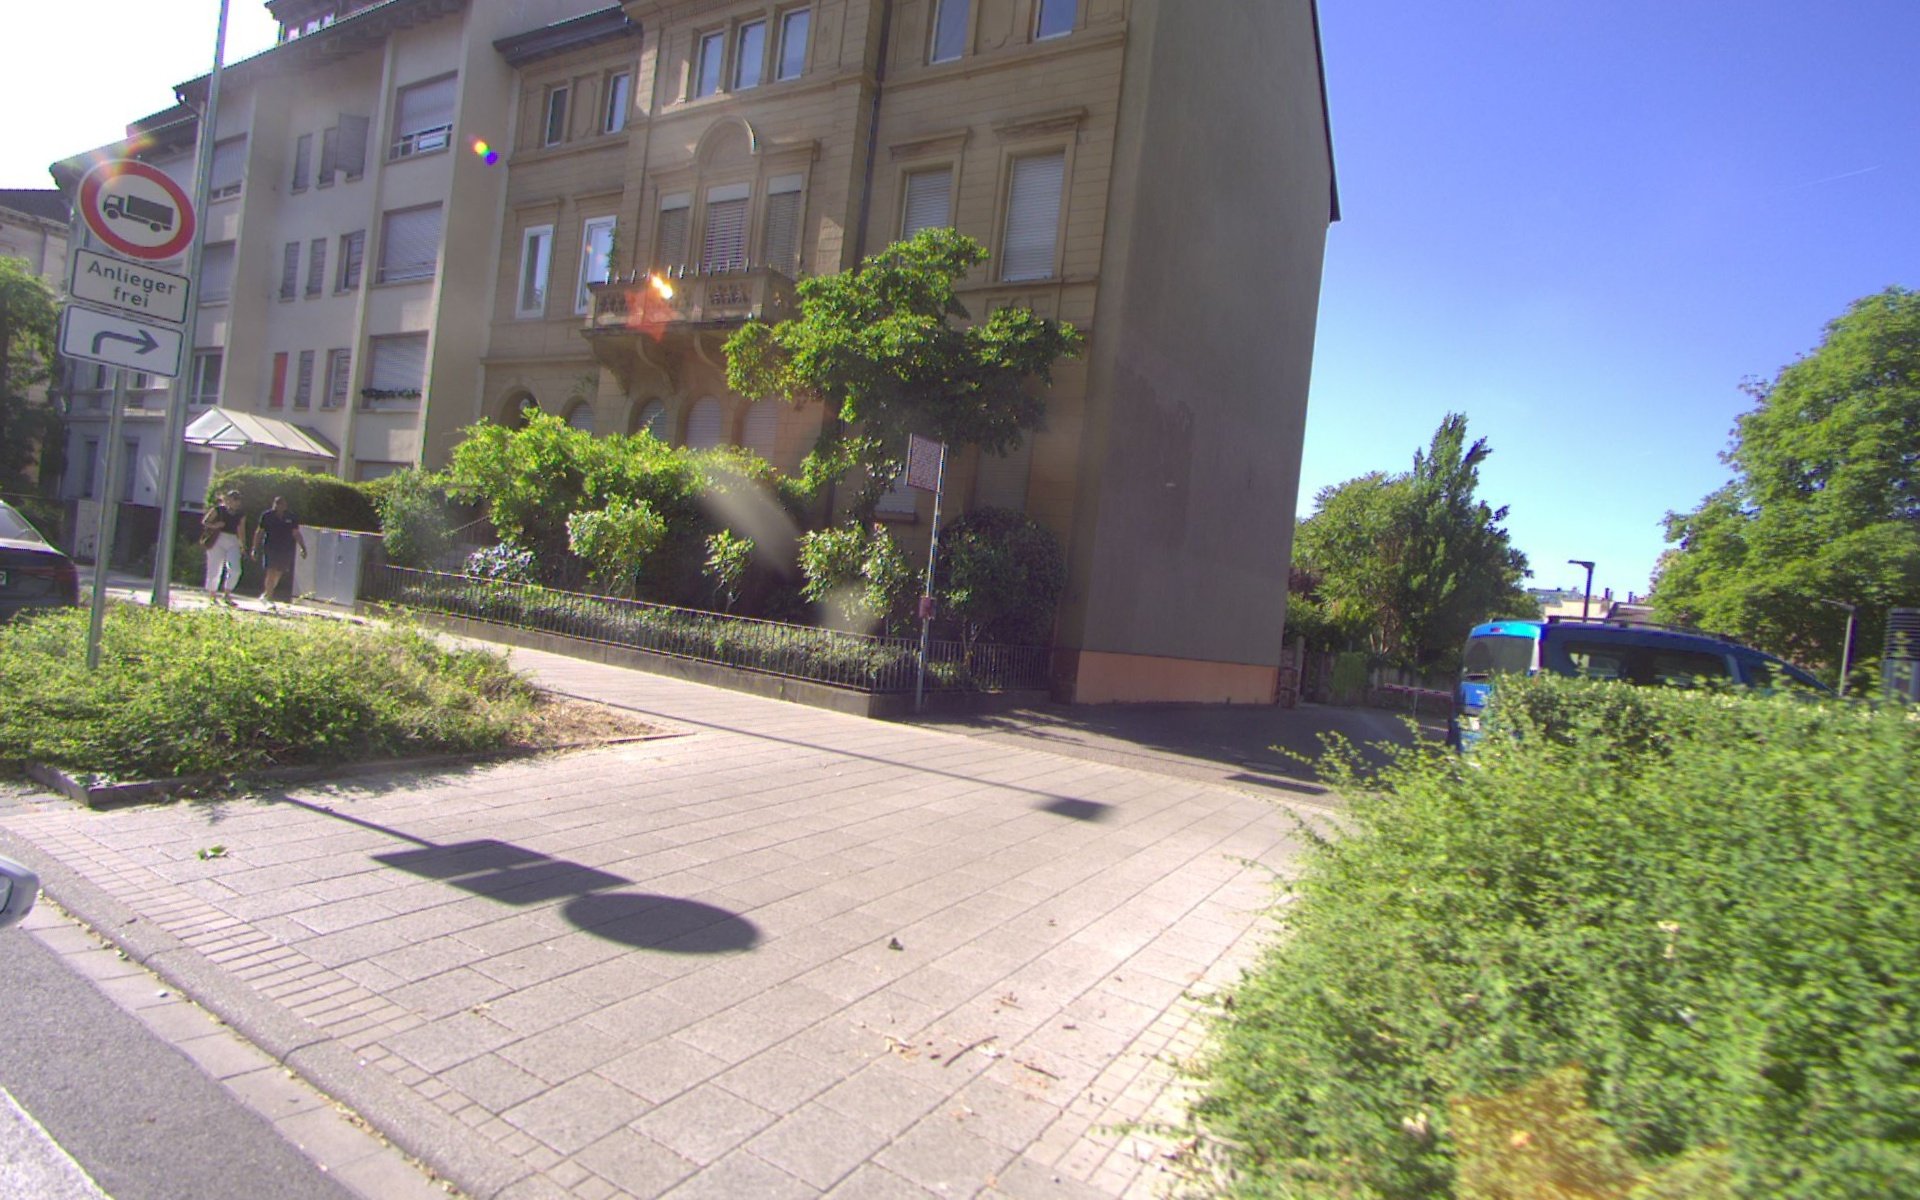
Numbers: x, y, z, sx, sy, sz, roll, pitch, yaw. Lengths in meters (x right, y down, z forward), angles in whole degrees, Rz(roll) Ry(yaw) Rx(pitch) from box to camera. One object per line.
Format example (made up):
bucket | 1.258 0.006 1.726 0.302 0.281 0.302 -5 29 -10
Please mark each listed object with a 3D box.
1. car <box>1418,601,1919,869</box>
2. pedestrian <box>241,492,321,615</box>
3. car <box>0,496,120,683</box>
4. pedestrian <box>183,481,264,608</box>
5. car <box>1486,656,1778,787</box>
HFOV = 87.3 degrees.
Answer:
car | 6.576 1.207 9.587 3.444 1.875 1.710 8 -1 -2
pedestrian | -10.458 -0.723 15.485 0.999 1.777 0.653 7 1 41
car | -9.461 -0.298 8.839 4.413 1.460 1.846 6 0 32
pedestrian | -10.995 -0.830 15.018 0.862 1.777 0.674 7 1 41
car | 10.809 1.928 16.343 3.484 1.652 1.856 5 0 -7
